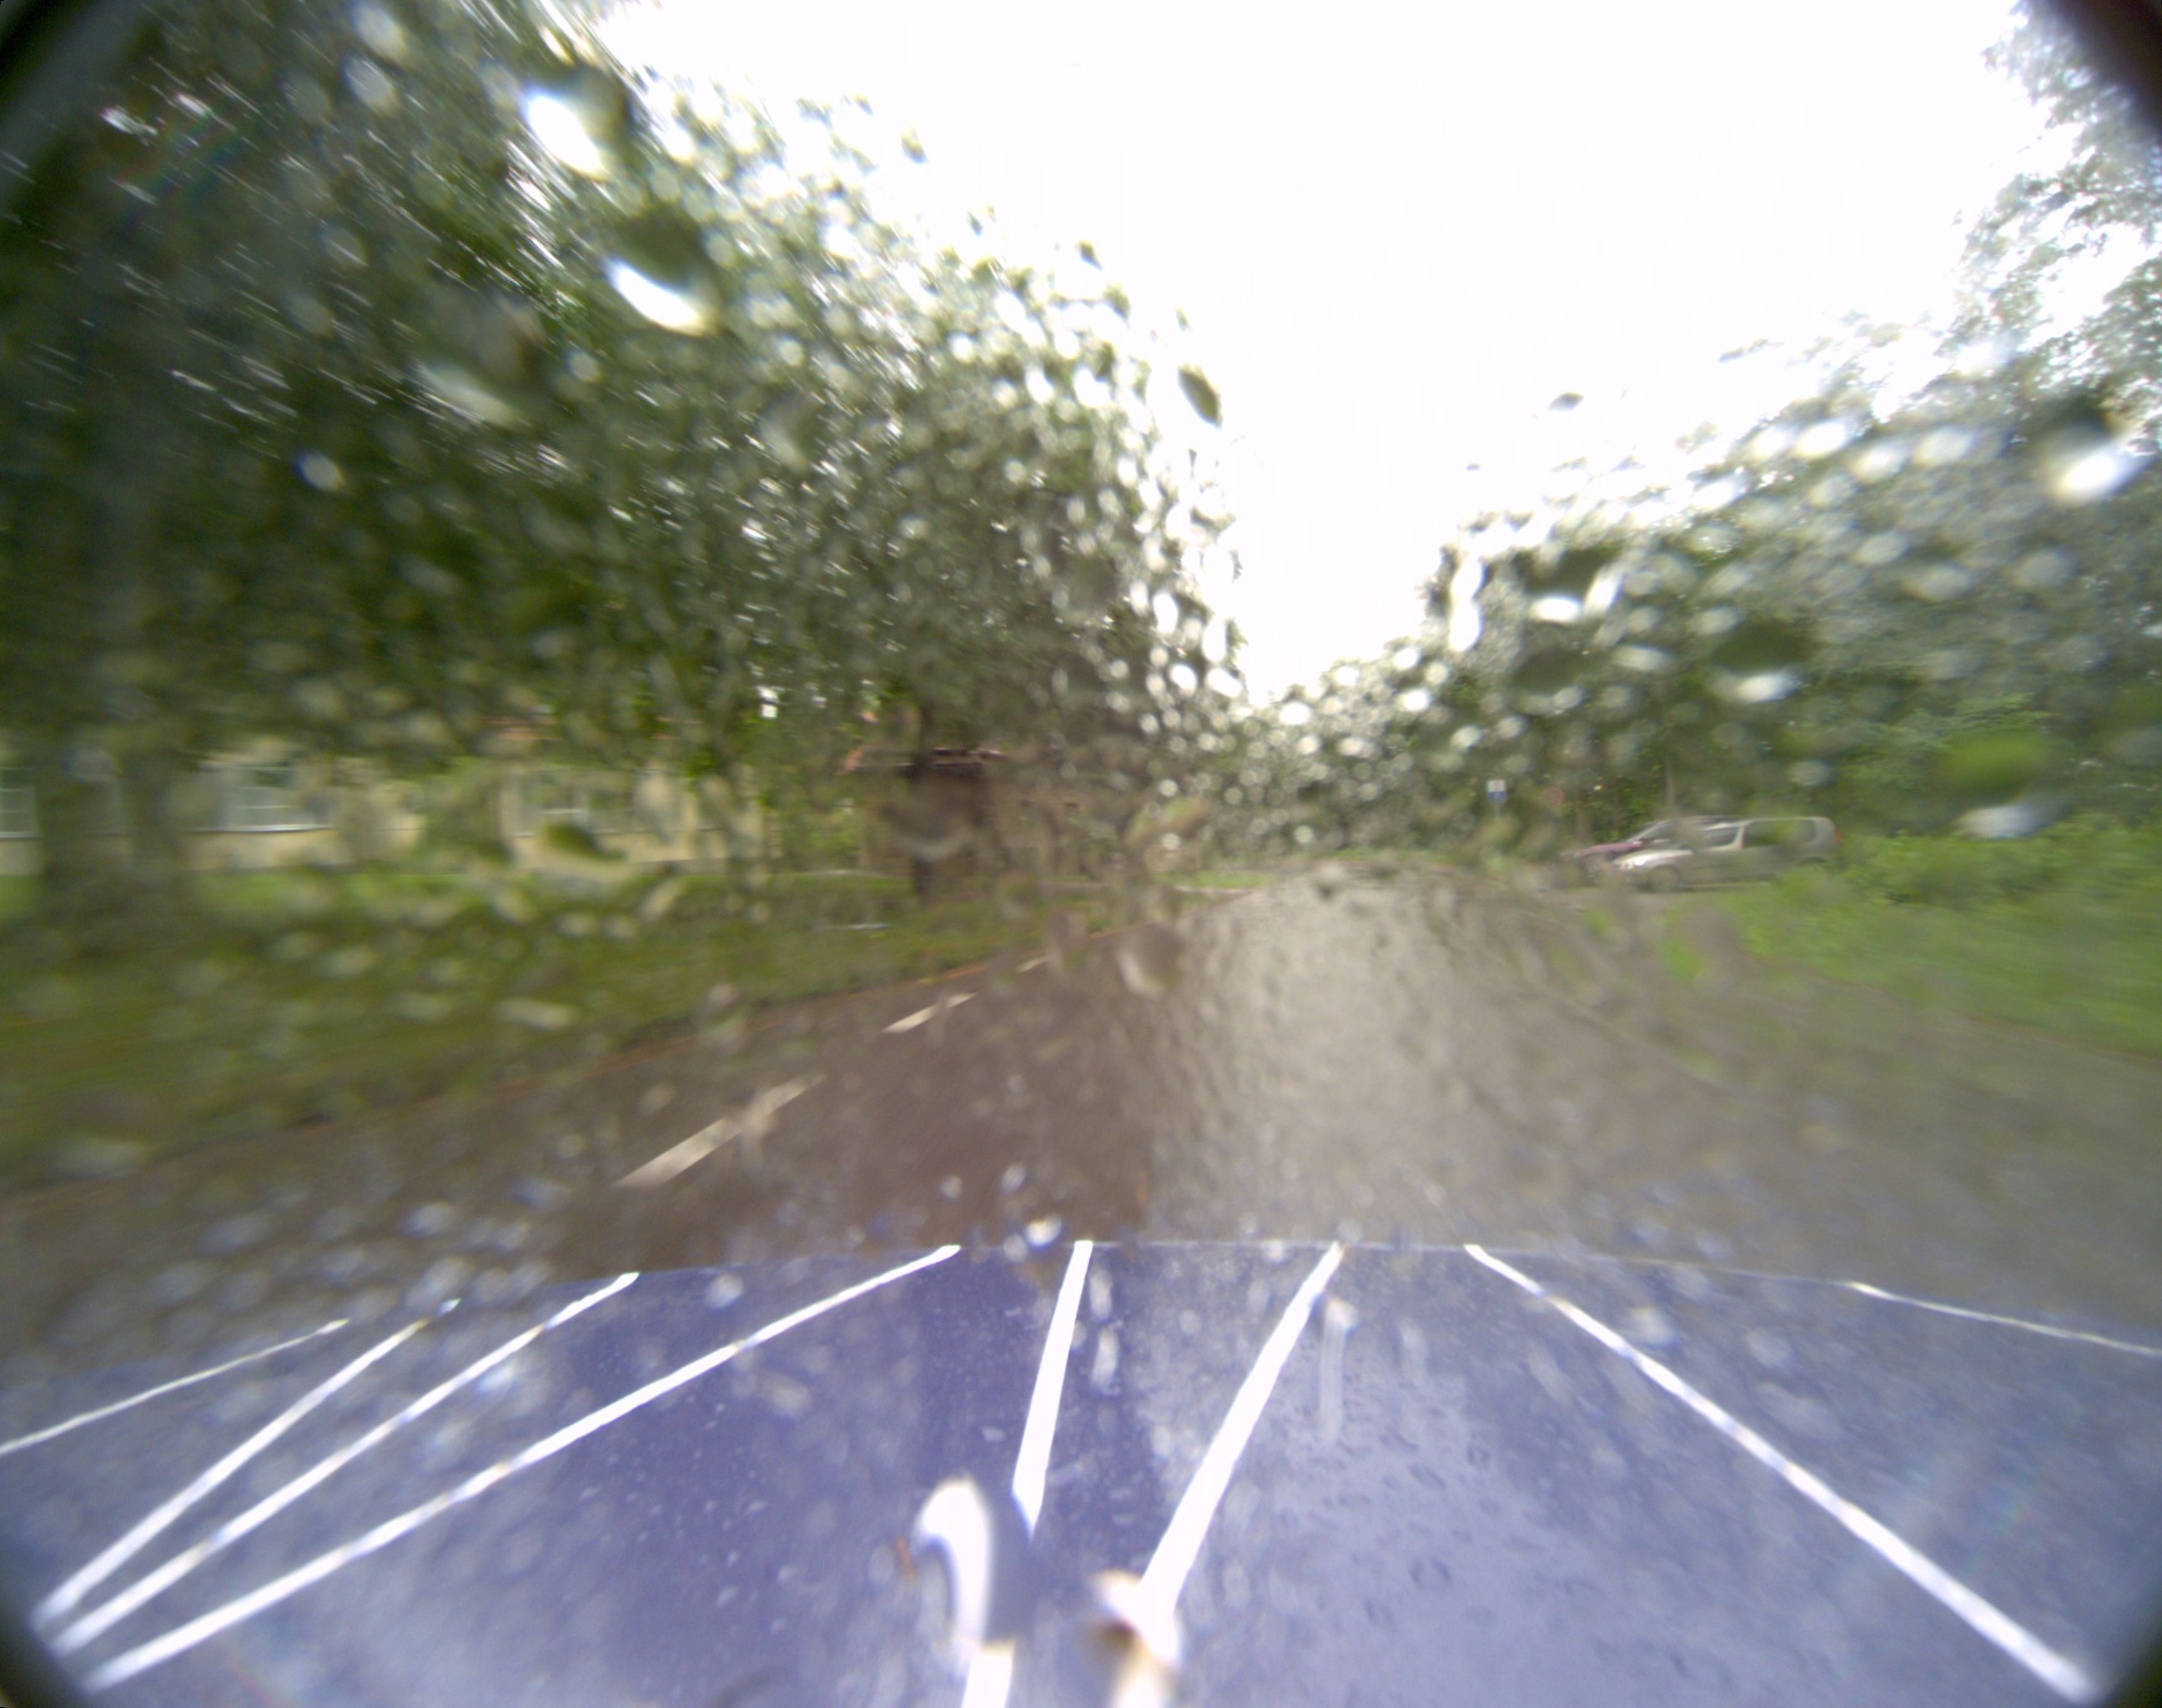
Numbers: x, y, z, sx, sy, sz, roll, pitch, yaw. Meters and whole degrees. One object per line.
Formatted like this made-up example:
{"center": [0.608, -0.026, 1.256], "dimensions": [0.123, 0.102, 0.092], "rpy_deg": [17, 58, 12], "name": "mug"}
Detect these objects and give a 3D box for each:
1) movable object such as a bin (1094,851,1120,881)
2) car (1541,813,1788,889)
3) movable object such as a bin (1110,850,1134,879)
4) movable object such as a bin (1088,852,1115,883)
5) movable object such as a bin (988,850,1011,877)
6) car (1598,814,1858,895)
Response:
{"center": [0.966, 0.452, 28.086], "dimensions": [0.696, 1.034, 0.577], "rpy_deg": [6, 5, 31], "name": "movable object such as a bin"}
{"center": [15.332, -0.045, 20.337], "dimensions": [4.830, 1.667, 1.879], "rpy_deg": [-4, 0, 21], "name": "car"}
{"center": [1.578, 0.411, 29.199], "dimensions": [0.696, 1.034, 0.577], "rpy_deg": [6, 5, 31], "name": "movable object such as a bin"}
{"center": [0.741, 0.479, 27.452], "dimensions": [0.696, 1.034, 0.661], "rpy_deg": [6, 5, 31], "name": "movable object such as a bin"}
{"center": [-2.864, 0.327, 26.623], "dimensions": [0.551, 0.902, 0.535], "rpy_deg": [6, 5, 31], "name": "movable object such as a bin"}
{"center": [14.625, 0.039, 17.495], "dimensions": [4.140, 1.545, 1.776], "rpy_deg": [-4, 0, 22], "name": "car"}
